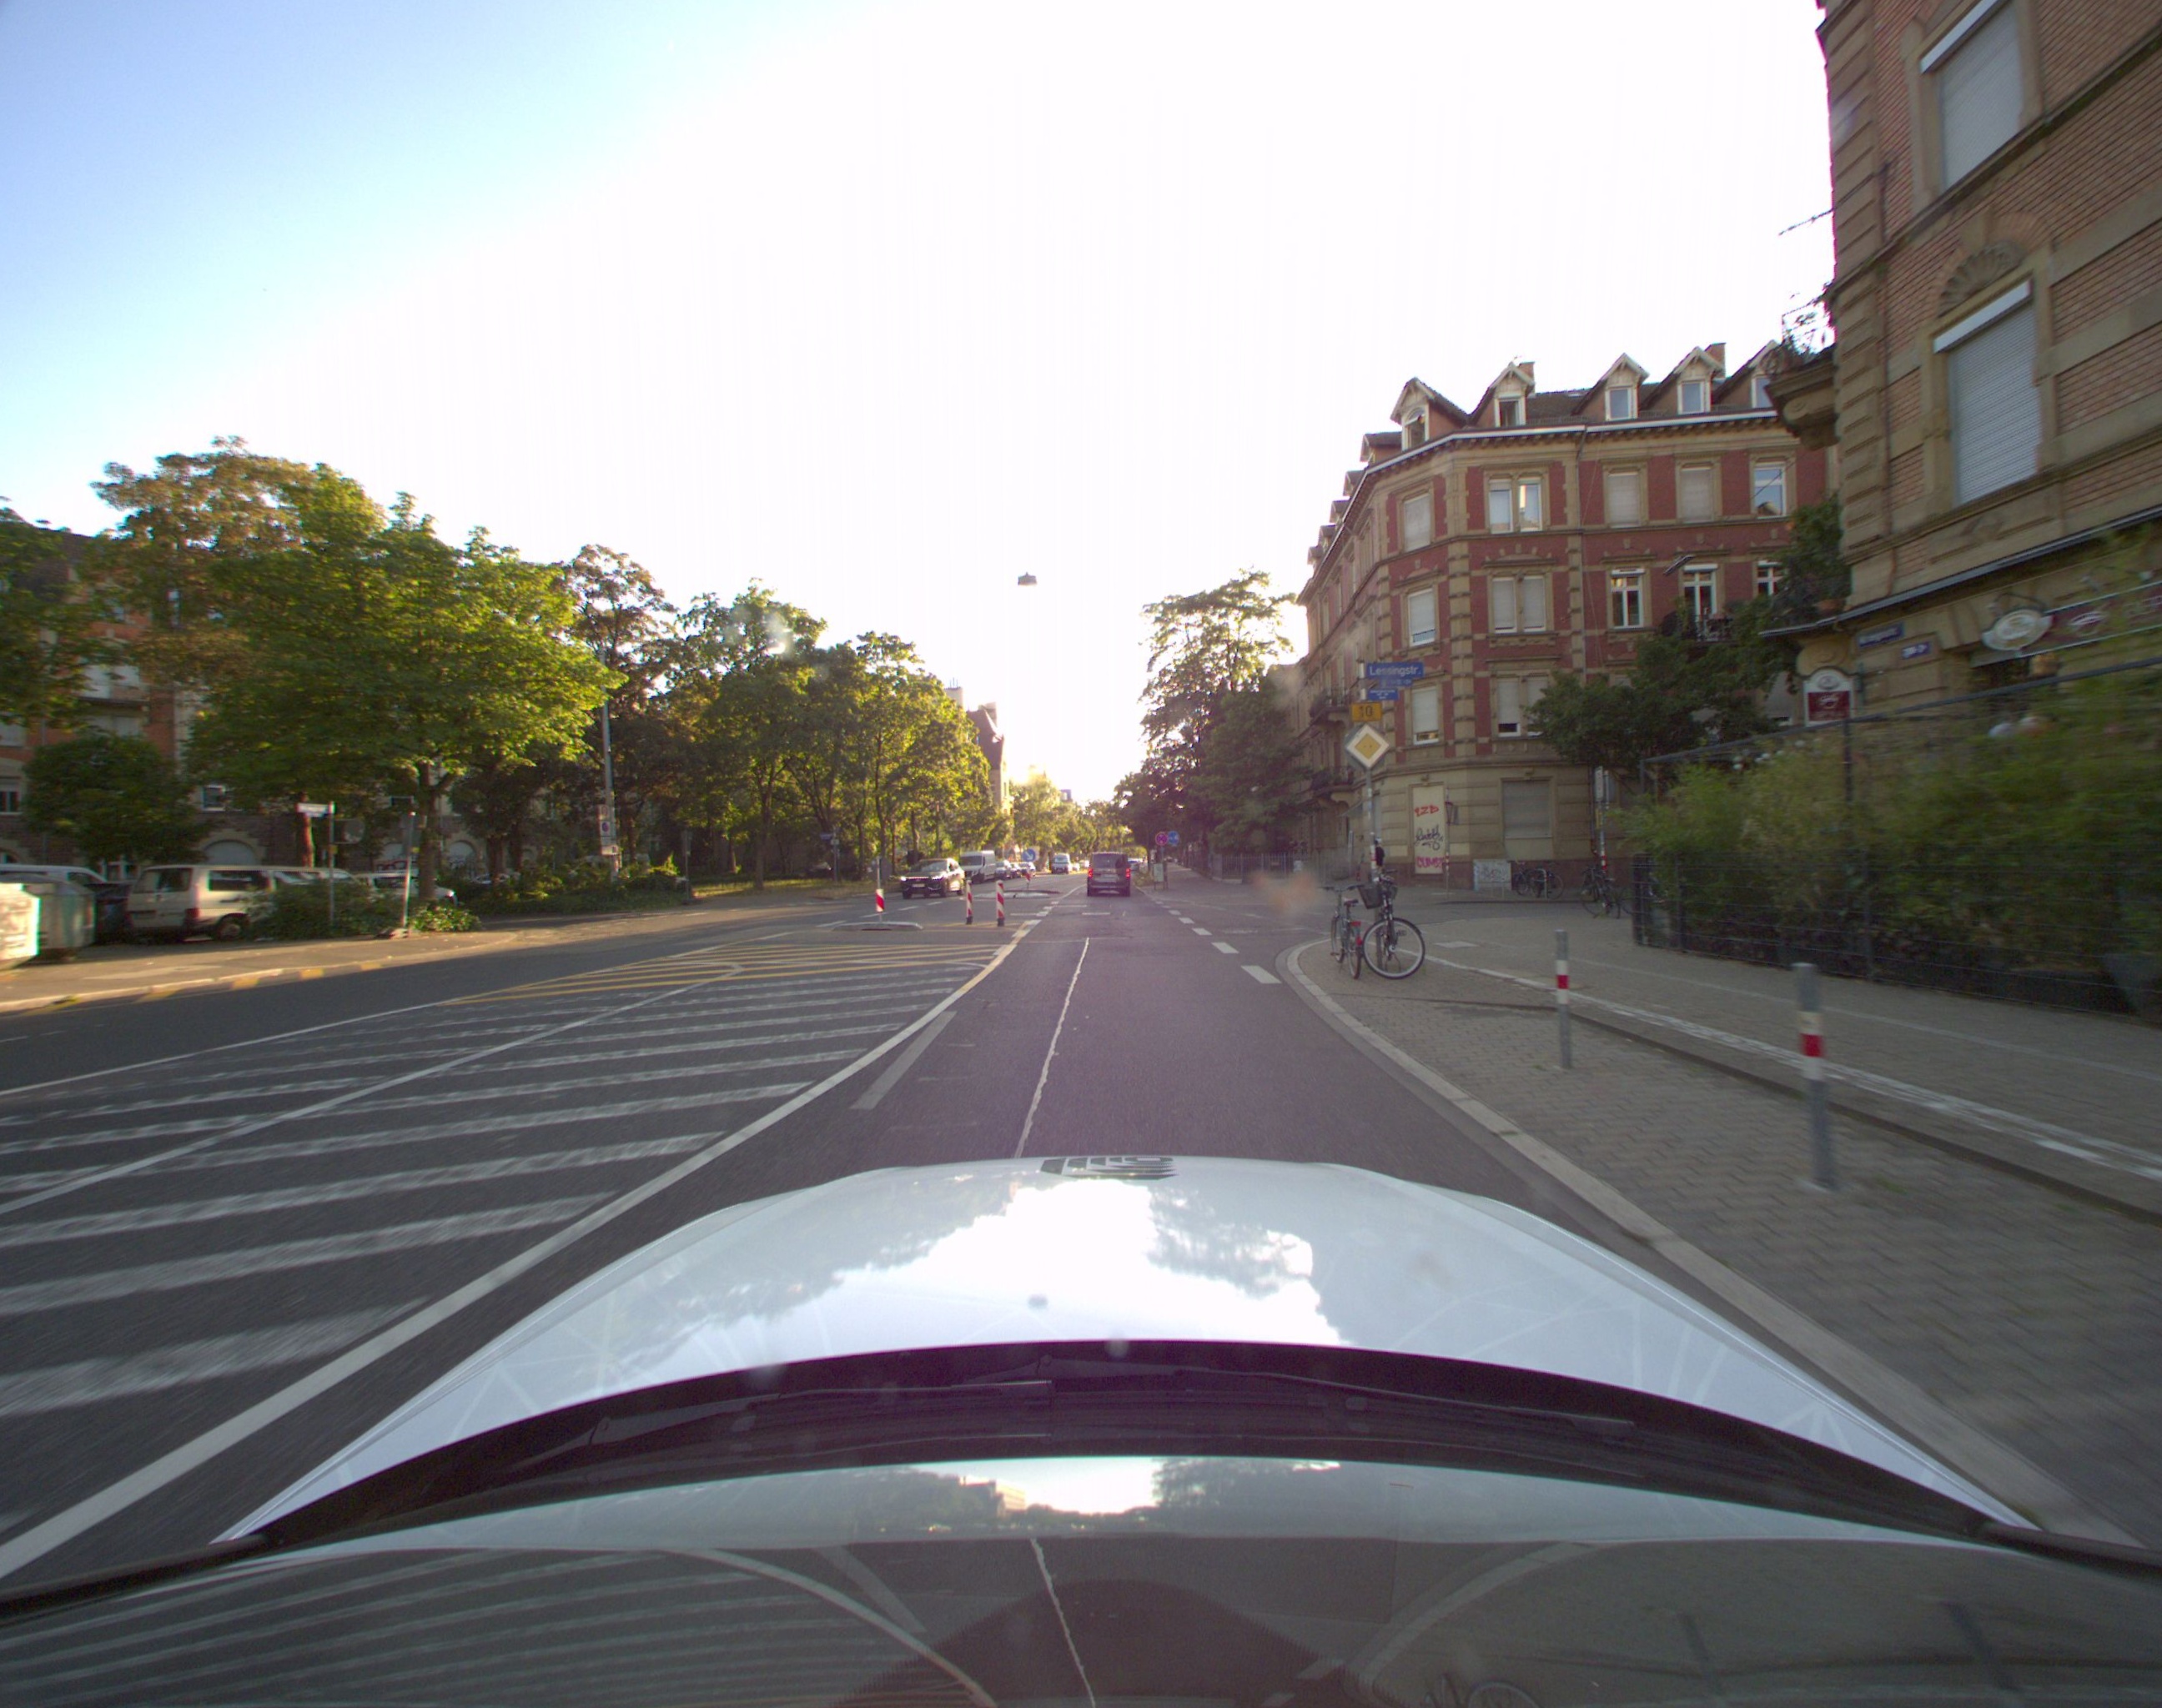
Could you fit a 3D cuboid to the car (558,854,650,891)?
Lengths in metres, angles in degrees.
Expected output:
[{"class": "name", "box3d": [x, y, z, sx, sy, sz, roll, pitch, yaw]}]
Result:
[{"class": "car", "box3d": [-34.457, 1.323, 58.946, 2.244, 2.485, 5.267, -2, 0, 39]}]

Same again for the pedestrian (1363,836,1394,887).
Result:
[{"class": "pedestrian", "box3d": [10.936, 0.272, 29.978, 0.742, 1.778, 0.832, -4, -1, 2]}]

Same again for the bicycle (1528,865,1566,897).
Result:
[{"class": "bicycle", "box3d": [13.854, 0.799, 24.241, 0.293, 0.817, 1.499, 0, 3, 2]}]

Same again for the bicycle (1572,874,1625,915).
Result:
[{"class": "bicycle", "box3d": [10.747, 0.835, 16.968, 0.292, 0.817, 1.740, 0, -2, 11]}]

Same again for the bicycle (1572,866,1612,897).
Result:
[{"class": "bicycle", "box3d": [15.395, 0.810, 24.543, 0.293, 0.817, 1.499, 0, 3, 2]}]

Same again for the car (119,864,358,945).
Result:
[{"class": "car", "box3d": [-21.064, 1.178, 20.645, 1.812, 1.795, 4.001, -1, 0, 1]}]

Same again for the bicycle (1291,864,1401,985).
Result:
[{"class": "bicycle", "box3d": [3.244, 0.821, 10.207, 0.563, 1.299, 2.265, -5, -2, 1]}]

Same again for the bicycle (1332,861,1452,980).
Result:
[{"class": "bicycle", "box3d": [3.819, 0.770, 10.209, 0.563, 1.275, 2.265, -5, -2, 1]}]

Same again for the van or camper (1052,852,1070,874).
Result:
[{"class": "van or camper", "box3d": [-2.462, 1.094, 101.659, 1.986, 2.669, 6.040, 0, 0, 2]}]

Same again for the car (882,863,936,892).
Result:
[{"class": "car", "box3d": [-9.660, 1.296, 46.039, 1.615, 1.506, 4.551, -2, 0, 6]}]

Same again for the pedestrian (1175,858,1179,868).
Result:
[{"class": "pedestrian", "box3d": [16.902, 1.600, 143.765, 0.641, 1.633, 0.657, 0, -1, 6]}]

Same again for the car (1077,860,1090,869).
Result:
[{"class": "car", "box3d": [0.432, 1.622, 130.811, 1.689, 1.451, 4.005, 0, 0, 5]}]

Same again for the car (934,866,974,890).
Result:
[{"class": "car", "box3d": [-8.353, 1.566, 53.929, 1.621, 1.429, 4.248, -2, 0, 5]}]

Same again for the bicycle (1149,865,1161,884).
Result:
[{"class": "bicycle", "box3d": [4.727, 1.302, 52.091, 0.644, 1.167, 1.932, 0, 0, 2]}]

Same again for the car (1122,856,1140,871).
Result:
[{"class": "car", "box3d": [5.878, 1.085, 94.574, 1.984, 1.634, 4.005, -1, 0, 4]}]

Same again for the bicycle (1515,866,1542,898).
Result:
[{"class": "bicycle", "box3d": [13.402, 0.821, 24.410, 0.292, 0.817, 1.503, 1, 3, 14]}]

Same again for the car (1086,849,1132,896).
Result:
[{"class": "car", "box3d": [1.271, 0.774, 35.934, 1.880, 1.925, 3.842, -2, 0, 3]}]

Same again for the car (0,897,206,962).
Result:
[{"class": "car", "box3d": [-25.785, 1.889, 21.140, 1.726, 1.332, 4.001, -1, 0, 1]}]

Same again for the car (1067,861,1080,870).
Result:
[{"class": "car", "box3d": [-1.019, 1.588, 116.009, 1.528, 1.248, 3.619, 0, 0, 5]}]

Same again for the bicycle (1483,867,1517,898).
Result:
[{"class": "bicycle", "box3d": [12.579, 0.846, 24.488, 0.290, 0.817, 1.499, 0, 3, 2]}]

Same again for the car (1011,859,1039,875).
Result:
[{"class": "car", "box3d": [-5.588, 1.292, 81.331, 1.984, 1.483, 4.836, -1, 0, 5]}]

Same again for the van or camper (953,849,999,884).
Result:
[{"class": "van or camper", "box3d": [-7.877, 0.884, 61.865, 2.081, 2.468, 6.314, -2, 0, 5]}]

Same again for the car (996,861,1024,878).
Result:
[{"class": "car", "box3d": [-6.485, 1.376, 74.718, 1.727, 1.445, 4.632, -1, 0, 5]}]

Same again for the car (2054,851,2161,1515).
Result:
[{"class": "car", "box3d": [3.122, 0.668, 0.113, 1.719, 1.465, 3.549, -5, 0, 3]}]

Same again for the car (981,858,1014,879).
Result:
[{"class": "car", "box3d": [-7.033, 1.205, 69.192, 1.857, 1.645, 4.578, -2, 0, 5]}]

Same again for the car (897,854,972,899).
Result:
[{"class": "car", "box3d": [-6.215, 0.915, 35.106, 1.867, 1.706, 4.575, -4, -1, 6]}]

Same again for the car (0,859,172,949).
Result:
[{"class": "car", "box3d": [-28.445, 1.293, 21.775, 2.203, 2.289, 5.110, -1, 0, 8]}]

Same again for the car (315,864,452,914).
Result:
[{"class": "car", "box3d": [-28.101, 1.357, 32.995, 1.986, 1.882, 4.001, 0, 0, 1]}]
